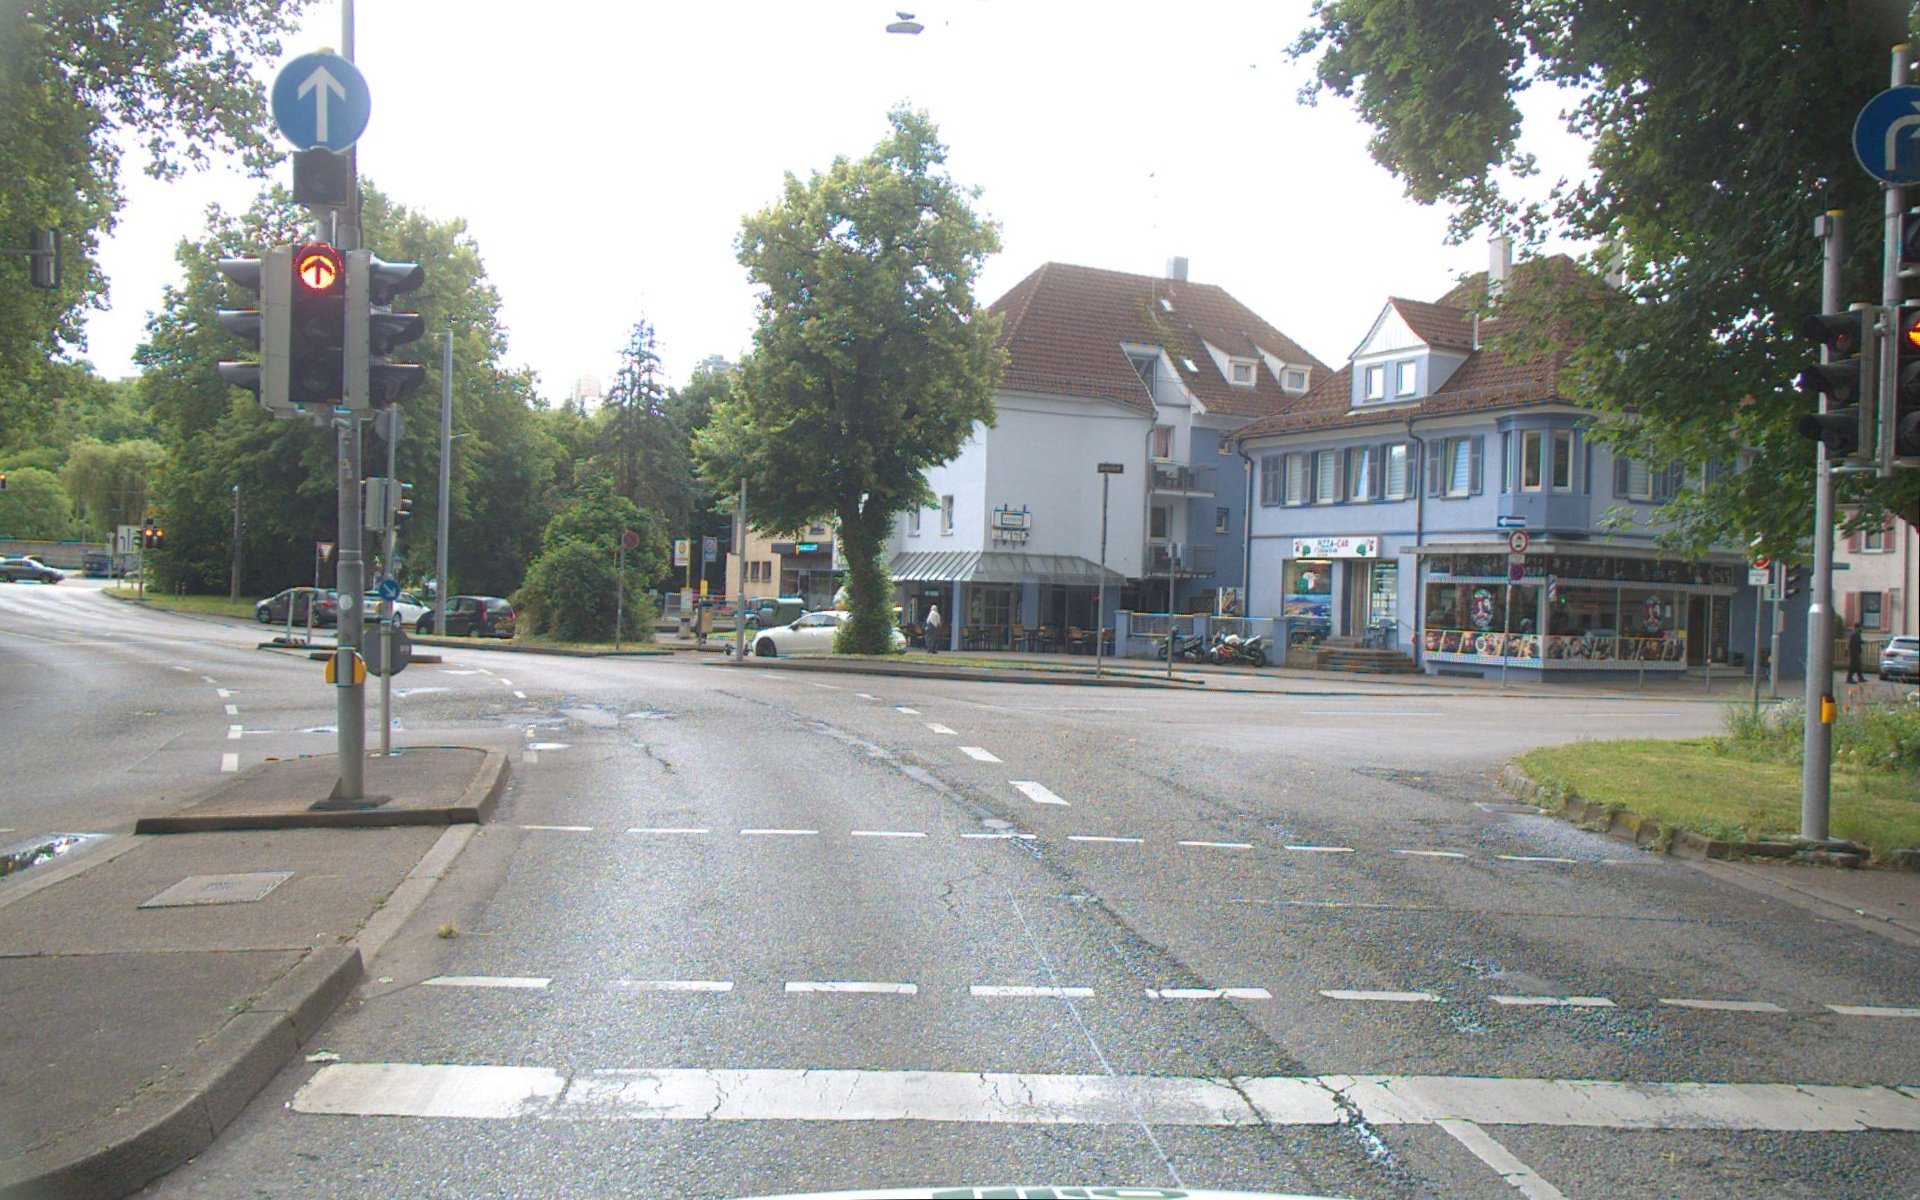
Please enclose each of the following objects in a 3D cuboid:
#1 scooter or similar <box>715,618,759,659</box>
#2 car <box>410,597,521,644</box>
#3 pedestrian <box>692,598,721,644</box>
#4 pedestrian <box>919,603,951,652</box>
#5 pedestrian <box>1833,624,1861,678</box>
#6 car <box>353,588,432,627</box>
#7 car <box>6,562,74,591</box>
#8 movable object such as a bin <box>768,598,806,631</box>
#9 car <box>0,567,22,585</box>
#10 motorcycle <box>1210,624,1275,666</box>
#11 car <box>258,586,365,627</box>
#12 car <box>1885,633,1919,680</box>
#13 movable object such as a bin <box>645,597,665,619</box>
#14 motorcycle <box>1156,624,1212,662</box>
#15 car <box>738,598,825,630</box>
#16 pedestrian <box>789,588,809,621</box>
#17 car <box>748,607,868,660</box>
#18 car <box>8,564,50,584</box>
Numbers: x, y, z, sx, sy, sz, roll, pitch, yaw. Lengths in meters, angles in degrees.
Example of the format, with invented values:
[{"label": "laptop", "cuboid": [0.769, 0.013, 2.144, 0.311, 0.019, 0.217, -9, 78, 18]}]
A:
[{"label": "scooter or similar", "cuboid": [-5.727, 0.983, 42.543, 0.408, 1.029, 1.567, 1, 0, 20]}, {"label": "car", "cuboid": [-16.003, 0.660, 53.465, 3.519, 1.418, 1.468, 1, 0, 32]}, {"label": "pedestrian", "cuboid": [-8.956, 0.742, 58.469, 0.694, 1.572, 0.675, 1, 0, 39]}, {"label": "pedestrian", "cuboid": [-0.820, 0.902, 54.279, 0.754, 1.572, 0.675, 1, -1, 38]}, {"label": "pedestrian", "cuboid": [25.441, 1.456, 47.446, 0.455, 1.544, 0.579, 1, -1, -40]}, {"label": "car", "cuboid": [-22.664, 0.308, 66.187, 1.512, 1.490, 3.398, 1, 0, 10]}, {"label": "car", "cuboid": [-66.484, -1.687, 119.553, 3.923, 2.049, 1.855, 1, 0, -17]}, {"label": "movable object such as a bin", "cuboid": [-7.713, 0.659, 73.843, 1.424, 1.433, 0.959, 1, 0, -27]}, {"label": "car", "cuboid": [-84.076, -2.111, 143.823, 3.923, 1.578, 1.860, 1, 0, -17]}, {"label": "motorcycle", "cuboid": [8.276, 1.312, 48.481, 1.765, 1.141, 0.692, 1, 0, 38]}, {"label": "car", "cuboid": [-24.855, 0.246, 63.397, 3.469, 1.490, 1.586, 1, 0, 12]}, {"label": "car", "cuboid": [29.855, 1.740, 51.413, 1.471, 1.393, 3.164, 1, 0, 38]}, {"label": "movable object such as a bin", "cuboid": [-15.847, 0.397, 85.917, 0.937, 1.135, 0.381, 1, 0, -22]}, {"label": "motorcycle", "cuboid": [6.796, 1.294, 50.238, 1.609, 1.082, 0.690, 1, 0, 44]}, {"label": "car", "cuboid": [-8.153, 0.643, 75.734, 3.690, 1.368, 1.421, 1, 0, -27]}, {"label": "pedestrian", "cuboid": [-7.678, 0.215, 78.716, 0.670, 1.572, 0.699, 2, 0, -35]}, {"label": "car", "cuboid": [-4.241, 0.918, 45.960, 3.110, 1.378, 1.435, 1, 0, 34]}, {"label": "car", "cuboid": [-102.204, -2.825, 181.499, 3.948, 2.049, 1.978, 1, 0, -32]}]
